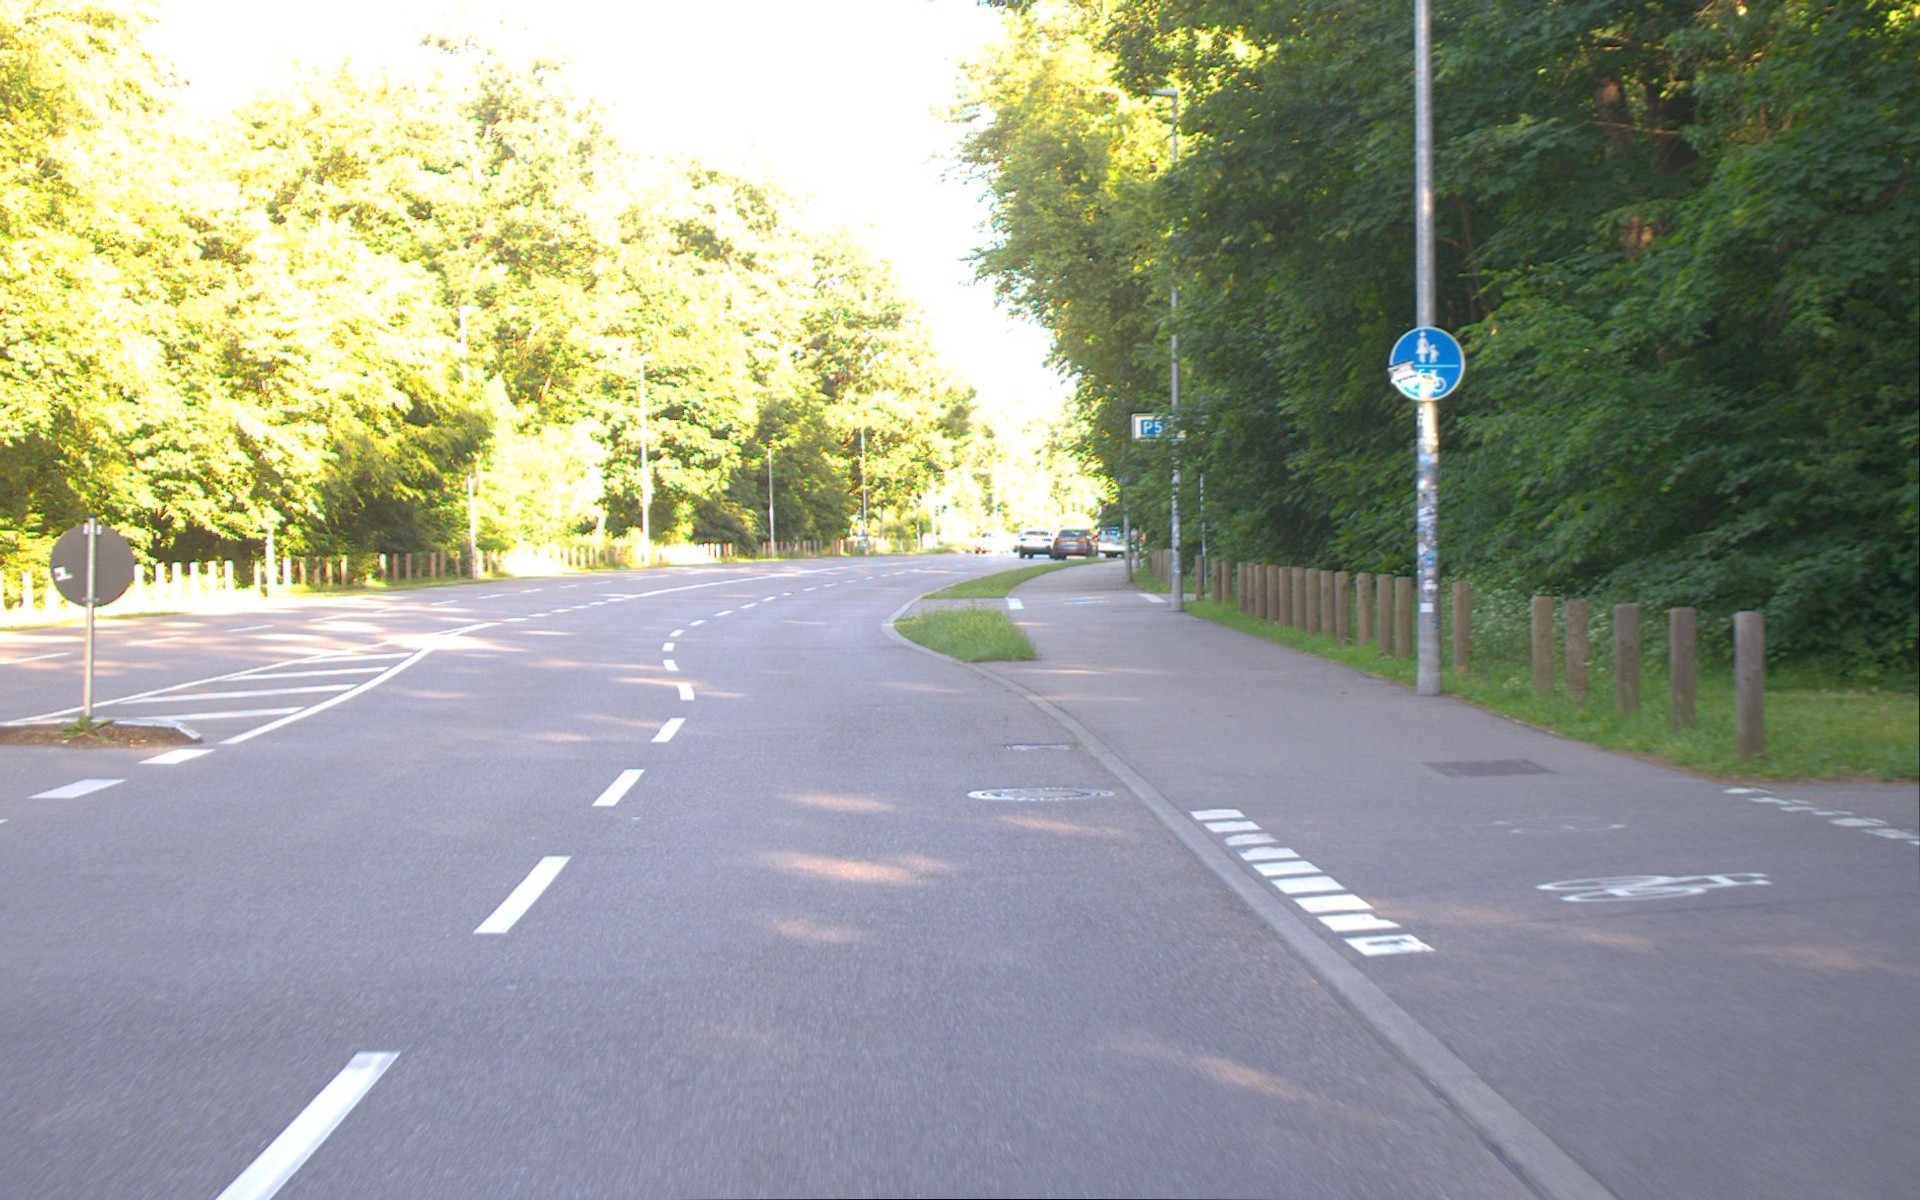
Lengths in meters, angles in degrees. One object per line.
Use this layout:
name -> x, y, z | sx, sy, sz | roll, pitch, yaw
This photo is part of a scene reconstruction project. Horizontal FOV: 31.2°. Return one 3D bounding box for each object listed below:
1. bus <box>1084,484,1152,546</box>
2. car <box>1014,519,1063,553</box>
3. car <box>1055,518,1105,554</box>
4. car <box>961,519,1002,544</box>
bus -> 8.717, -4.665, 189.027 | 2.606, 3.357, 7.972 | 0, 1, 11
car -> 4.104, -3.339, 179.375 | 1.881, 1.703, 3.998 | -1, 1, 11
car -> 6.037, -3.225, 172.039 | 1.881, 1.759, 3.998 | -1, 1, 11
car -> 1.286, -4.145, 207.424 | 1.780, 1.403, 4.164 | 0, 2, 10
